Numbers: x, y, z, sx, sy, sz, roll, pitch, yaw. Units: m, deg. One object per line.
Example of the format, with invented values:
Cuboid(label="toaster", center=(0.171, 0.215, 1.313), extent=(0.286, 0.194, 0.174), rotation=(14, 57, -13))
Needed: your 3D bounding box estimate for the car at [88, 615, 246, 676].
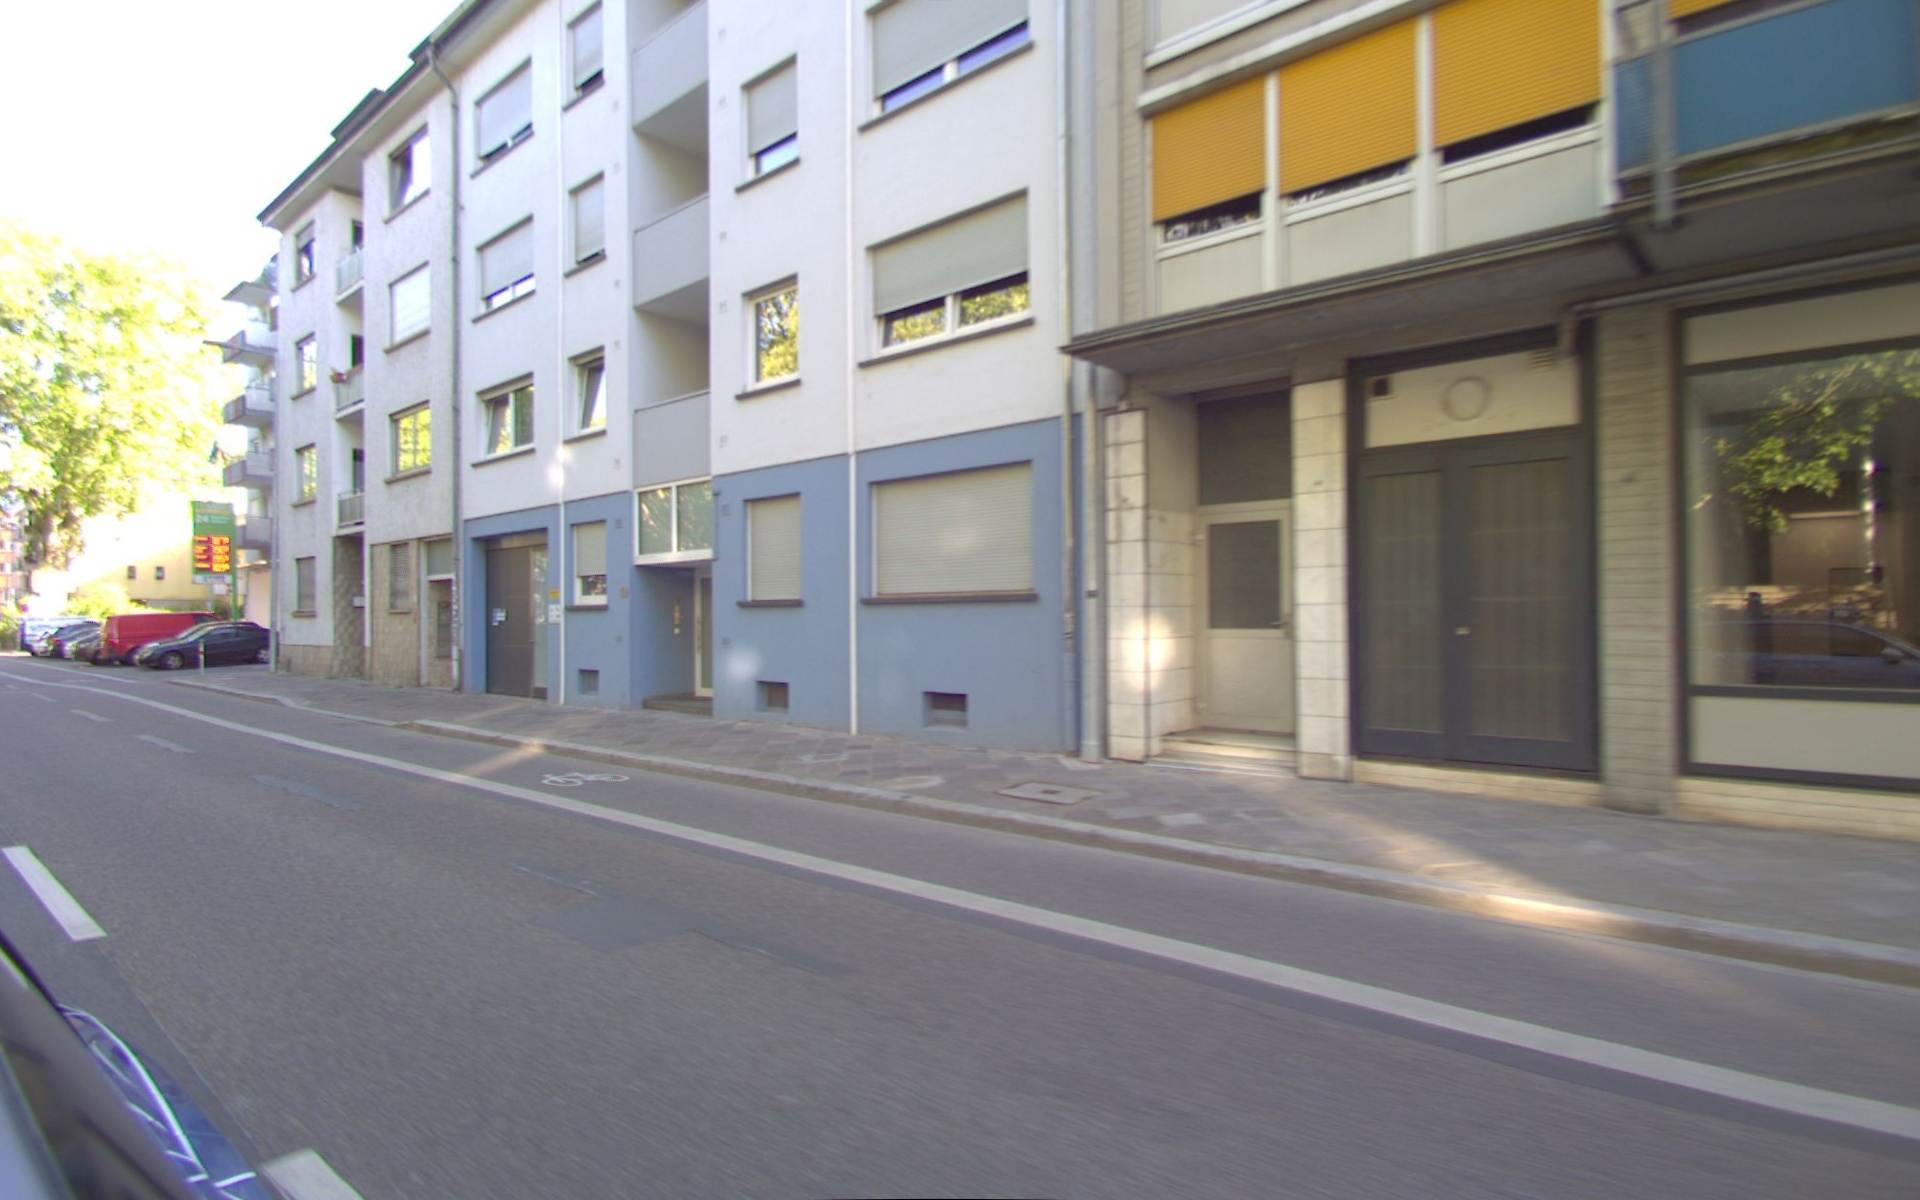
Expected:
Cuboid(label="car", center=(-30.142, 1.683, 38.556), extent=(2.145, 1.966, 4.375), rotation=(-2, 1, 41))

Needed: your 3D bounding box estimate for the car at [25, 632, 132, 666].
Cuboid(label="car", center=(-45.521, 2.508, 52.316), extent=(1.852, 1.571, 3.945), rotation=(-3, -1, 41))

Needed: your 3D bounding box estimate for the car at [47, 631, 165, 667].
Cuboid(label="car", center=(-39.681, 2.261, 47.096), extent=(1.915, 1.467, 3.945), rotation=(-2, -1, 41))

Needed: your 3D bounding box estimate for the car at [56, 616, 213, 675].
Cuboid(label="car", center=(-32.553, 1.750, 39.995), extent=(2.056, 1.966, 4.475), rotation=(-2, 1, 41))

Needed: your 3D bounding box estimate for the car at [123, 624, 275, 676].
Cuboid(label="car", center=(-27.665, 1.779, 36.879), extent=(1.886, 1.575, 4.129), rotation=(-2, 1, 41))

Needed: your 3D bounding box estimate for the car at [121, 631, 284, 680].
Cuboid(label="car", center=(-26.187, 1.857, 35.088), extent=(2.045, 1.390, 4.184), rotation=(-1, 0, 41))

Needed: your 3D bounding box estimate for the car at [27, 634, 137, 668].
Cuboid(label="car", center=(-44.026, 2.536, 50.793), extent=(1.852, 1.444, 3.945), rotation=(-2, -1, 41))

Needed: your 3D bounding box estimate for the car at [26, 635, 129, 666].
Cuboid(label="car", center=(-47.034, 2.650, 53.984), extent=(1.852, 1.444, 3.945), rotation=(-2, -1, 41))

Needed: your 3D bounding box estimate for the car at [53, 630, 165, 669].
Cuboid(label="car", center=(-38.363, 2.204, 45.671), extent=(1.830, 1.524, 3.647), rotation=(-2, 0, 41))

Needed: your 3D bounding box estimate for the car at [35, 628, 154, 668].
Cuboid(label="car", center=(-42.040, 2.308, 49.229), extent=(2.027, 1.696, 4.150), rotation=(-2, 0, 41))

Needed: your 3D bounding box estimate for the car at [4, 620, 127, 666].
Cuboid(label="car", center=(-48.936, 2.292, 55.457), extent=(2.139, 2.233, 4.794), rotation=(-2, 0, 41))
